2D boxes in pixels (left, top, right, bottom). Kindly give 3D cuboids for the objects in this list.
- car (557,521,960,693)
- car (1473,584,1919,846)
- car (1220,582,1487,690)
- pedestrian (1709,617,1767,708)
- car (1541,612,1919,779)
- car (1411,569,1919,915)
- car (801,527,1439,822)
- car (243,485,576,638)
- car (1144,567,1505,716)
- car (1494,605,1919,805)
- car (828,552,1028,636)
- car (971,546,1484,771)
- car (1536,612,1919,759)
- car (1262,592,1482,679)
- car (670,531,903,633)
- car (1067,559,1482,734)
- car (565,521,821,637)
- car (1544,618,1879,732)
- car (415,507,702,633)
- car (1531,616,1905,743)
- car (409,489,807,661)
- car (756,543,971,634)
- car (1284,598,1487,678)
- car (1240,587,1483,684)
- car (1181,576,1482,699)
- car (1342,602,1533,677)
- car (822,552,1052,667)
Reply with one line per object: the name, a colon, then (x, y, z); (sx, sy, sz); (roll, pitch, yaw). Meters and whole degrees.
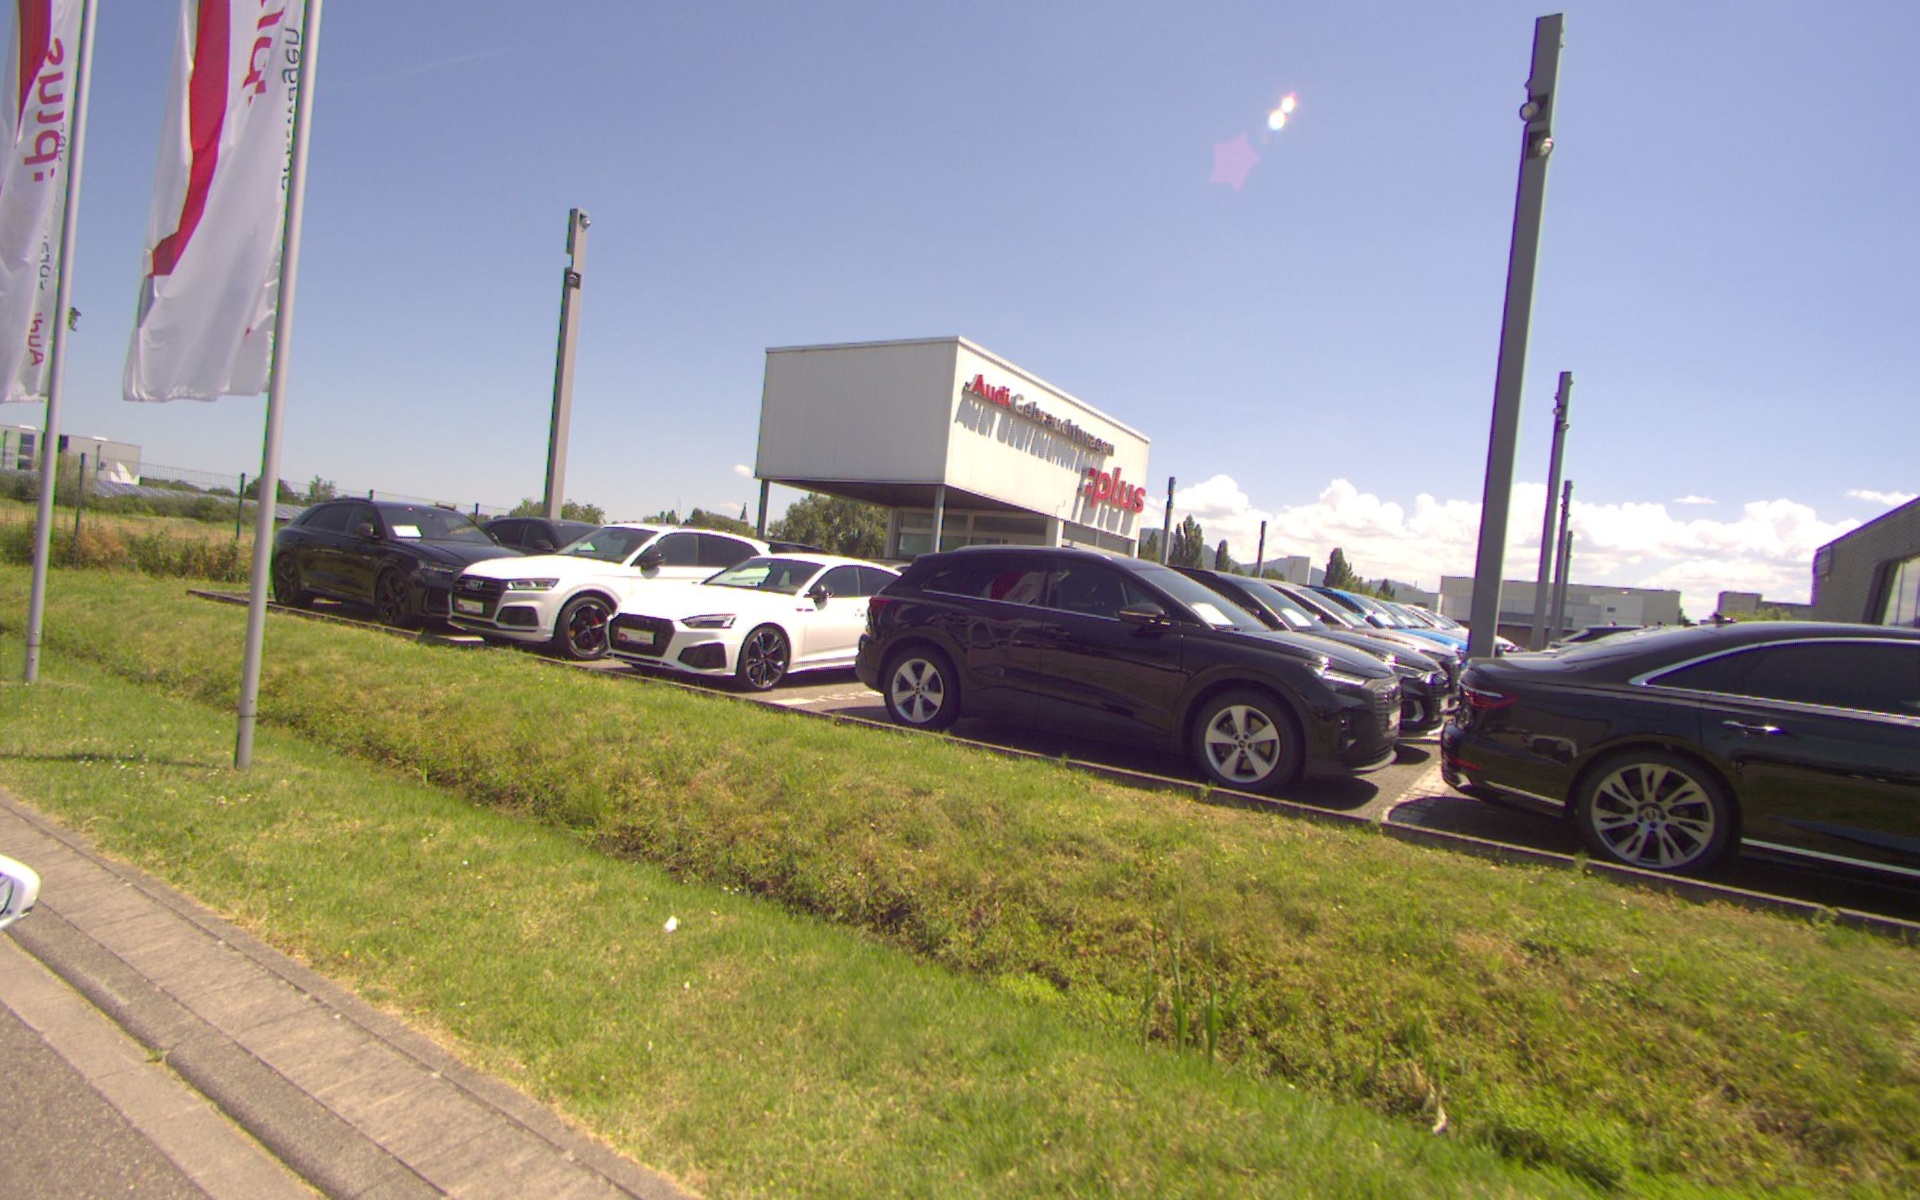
car: (-2.039, 0.095, 11.619); (1.997, 1.476, 4.531); (6, 1, 30)
car: (7.131, 0.906, 7.764); (5.386, 1.595, 1.895); (6, 3, 33)
car: (8.013, 0.676, 20.621); (4.700, 1.611, 2.025); (6, 2, 32)
pedestrian: (15.599, 1.258, 20.198); (0.627, 1.717, 0.711); (9, 2, 32)
car: (10.141, 1.122, 12.376); (4.994, 1.477, 2.023); (6, 3, 33)
car: (5.526, 0.813, 5.614); (5.153, 1.535, 2.023); (6, 3, 33)
car: (1.186, 0.406, 8.326); (4.701, 1.594, 2.025); (6, 2, 33)
car: (-7.954, -0.594, 14.360); (5.026, 1.715, 2.024); (6, 2, 34)
car: (5.434, 0.541, 15.232); (4.701, 1.611, 2.025); (6, 2, 33)
car: (8.415, 1.017, 10.254); (4.994, 1.477, 2.023); (6, 3, 33)
car: (-0.877, -0.162, 25.834); (4.731, 1.676, 2.024); (6, 2, 34)
car: (2.694, 0.462, 10.556); (4.701, 1.611, 2.025); (6, 2, 33)
car: (11.421, 1.178, 14.720); (4.994, 1.476, 2.025); (6, 2, 33)
car: (10.304, 0.848, 25.281); (4.701, 1.611, 2.025); (6, 2, 33)
car: (-3.758, -0.404, 21.487); (4.731, 1.702, 2.024); (6, 2, 34)
car: (4.016, 0.496, 13.151); (4.701, 1.611, 2.025); (6, 2, 33)
car: (-5.162, -0.427, 19.229); (4.731, 1.748, 2.024); (6, 2, 34)
car: (14.151, 1.319, 19.373); (4.822, 1.477, 2.023); (6, 3, 33)
car: (-6.709, -0.523, 16.635); (4.731, 1.632, 2.024); (6, 2, 34)
car: (12.831, 1.248, 17.508); (4.822, 1.477, 2.023); (6, 3, 33)
car: (-4.230, -0.240, 12.895); (1.997, 1.715, 4.531); (6, 2, 30)
car: (-2.321, -0.289, 23.643); (4.731, 1.676, 2.024); (6, 2, 34)
car: (11.576, 0.993, 27.475); (4.701, 1.611, 2.025); (6, 2, 33)
car: (9.052, 0.751, 22.806); (4.701, 1.611, 2.025); (6, 2, 33)
car: (6.685, 0.608, 18.271); (4.701, 1.611, 2.025); (6, 2, 33)
car: (13.938, 1.119, 29.452); (4.701, 1.611, 2.025); (6, 2, 33)
car: (-0.272, 0.197, 18.485); (1.998, 1.715, 4.530); (6, 2, 31)
